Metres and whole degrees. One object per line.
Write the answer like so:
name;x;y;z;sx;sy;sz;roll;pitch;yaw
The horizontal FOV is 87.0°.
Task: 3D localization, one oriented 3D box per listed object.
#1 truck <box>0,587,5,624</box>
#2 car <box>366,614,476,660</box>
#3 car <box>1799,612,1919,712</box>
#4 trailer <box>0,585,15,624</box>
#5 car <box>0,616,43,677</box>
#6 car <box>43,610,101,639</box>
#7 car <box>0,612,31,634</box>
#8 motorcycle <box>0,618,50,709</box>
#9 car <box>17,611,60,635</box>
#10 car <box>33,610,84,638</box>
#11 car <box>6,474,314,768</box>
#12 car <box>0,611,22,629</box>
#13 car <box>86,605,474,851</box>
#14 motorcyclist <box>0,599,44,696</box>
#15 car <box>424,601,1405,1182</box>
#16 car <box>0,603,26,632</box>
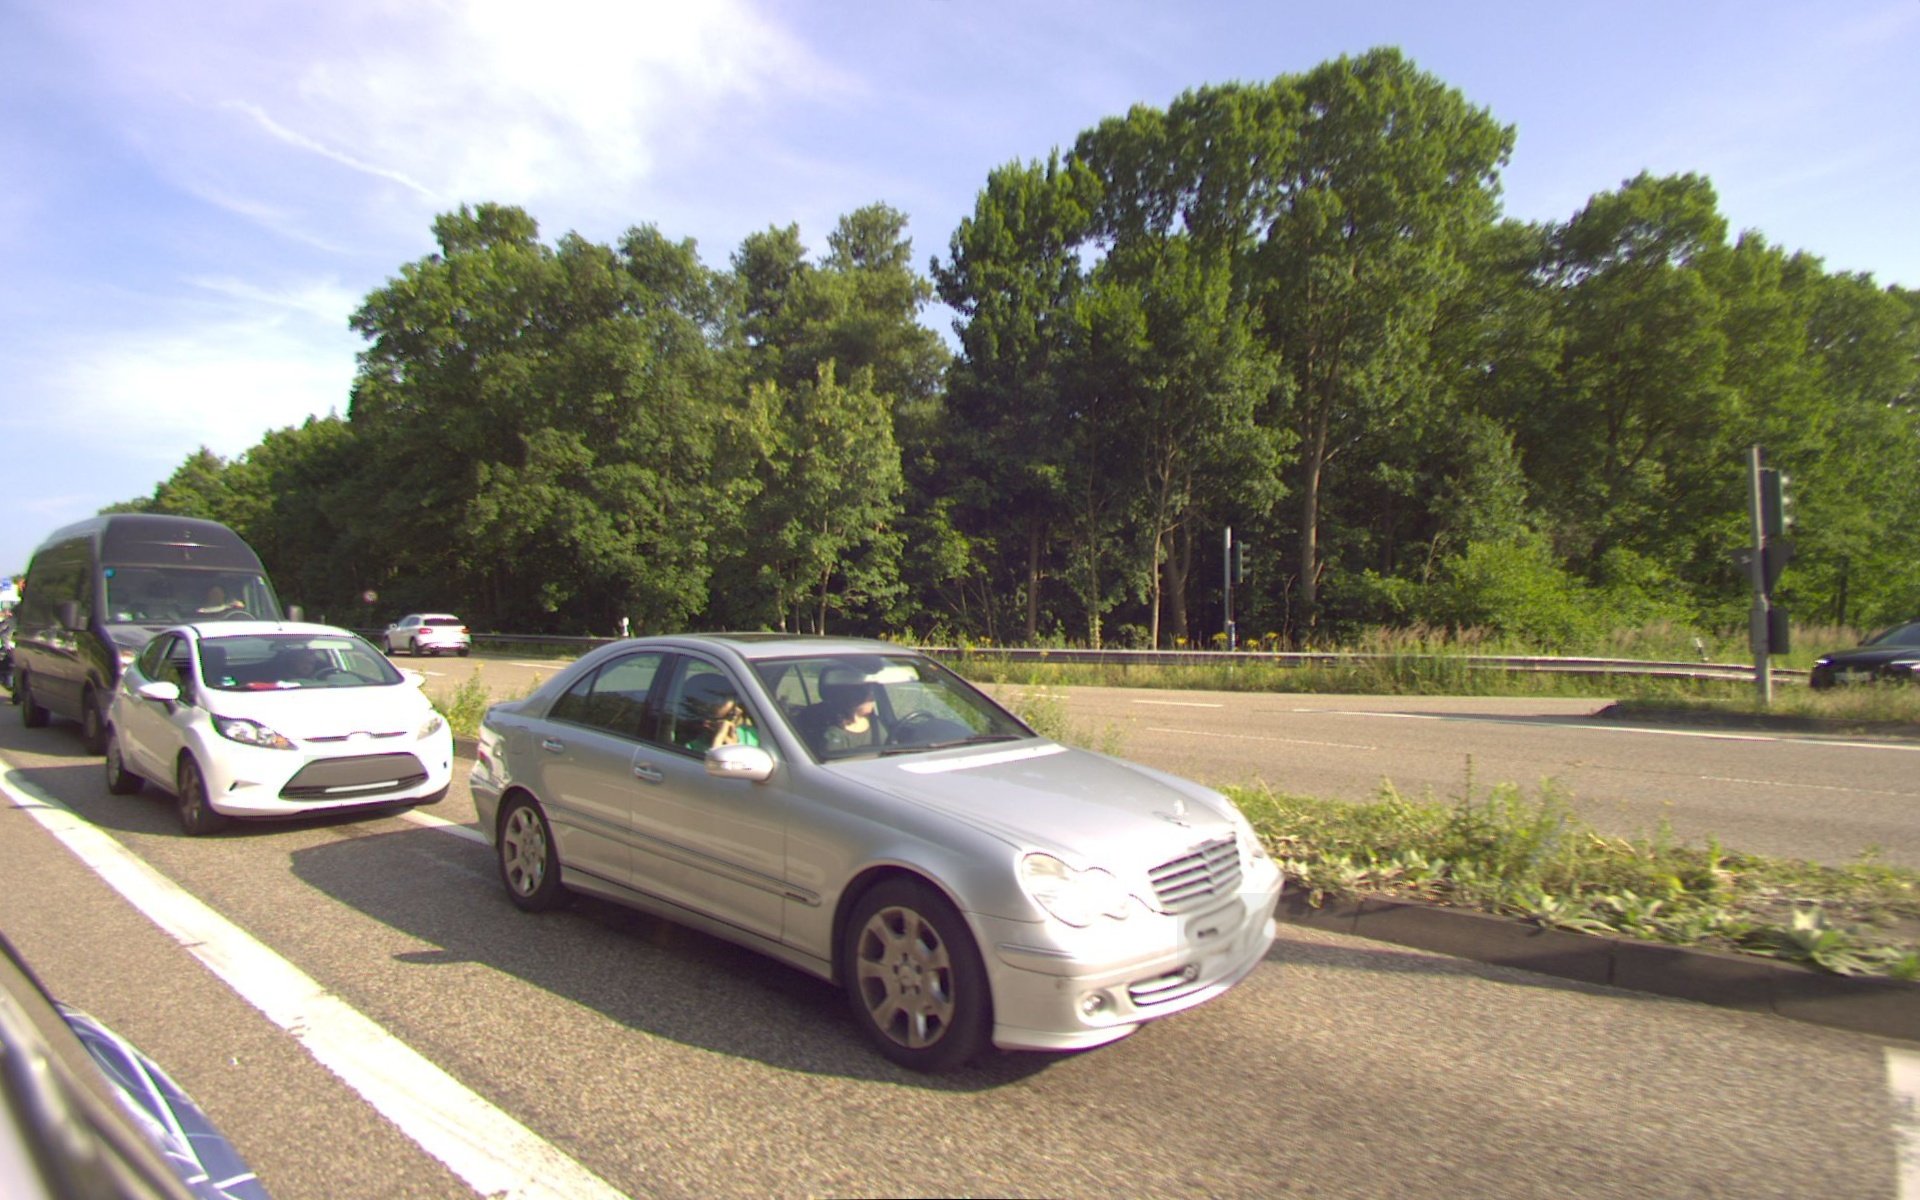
truck;-109.027;0.662;113.111;6.721;4.027;2.860;-1;0;43
car;-19.165;1.305;35.914;4.259;1.515;1.865;-1;-3;39
car;17.100;0.985;17.379;4.484;1.501;2.006;-1;0;-18
trailer;-103.194;0.553;107.676;14.014;4.026;2.959;-1;0;43
car;-26.129;1.204;27.130;4.833;1.533;1.850;-1;-1;42
car;-45.389;1.256;51.723;4.417;1.428;1.846;-1;-3;44
car;-74.111;1.791;79.222;4.802;1.682;1.751;-1;-3;44
motorcycle;-16.475;1.068;17.514;0.898;1.464;2.691;5;-5;-44
car;-58.054;1.435;63.745;4.213;1.434;1.687;-1;-3;44
car;-49.445;1.326;55.501;4.435;1.428;1.747;-1;-3;44
car;-10.709;0.286;13.245;7.013;2.911;2.185;-1;-3;44
car;-79.108;1.656;83.843;5.187;1.468;1.740;-1;-3;44
car;-5.642;0.834;8.187;4.103;1.501;1.628;-1;-3;42
motorcyclist;-16.508;0.807;17.554;0.873;1.628;1.291;-1;0;-44
car;-0.675;0.778;4.770;4.801;1.432;1.716;-1;-3;42
car;-84.794;1.561;90.110;6.165;2.553;2.051;-1;-3;44
